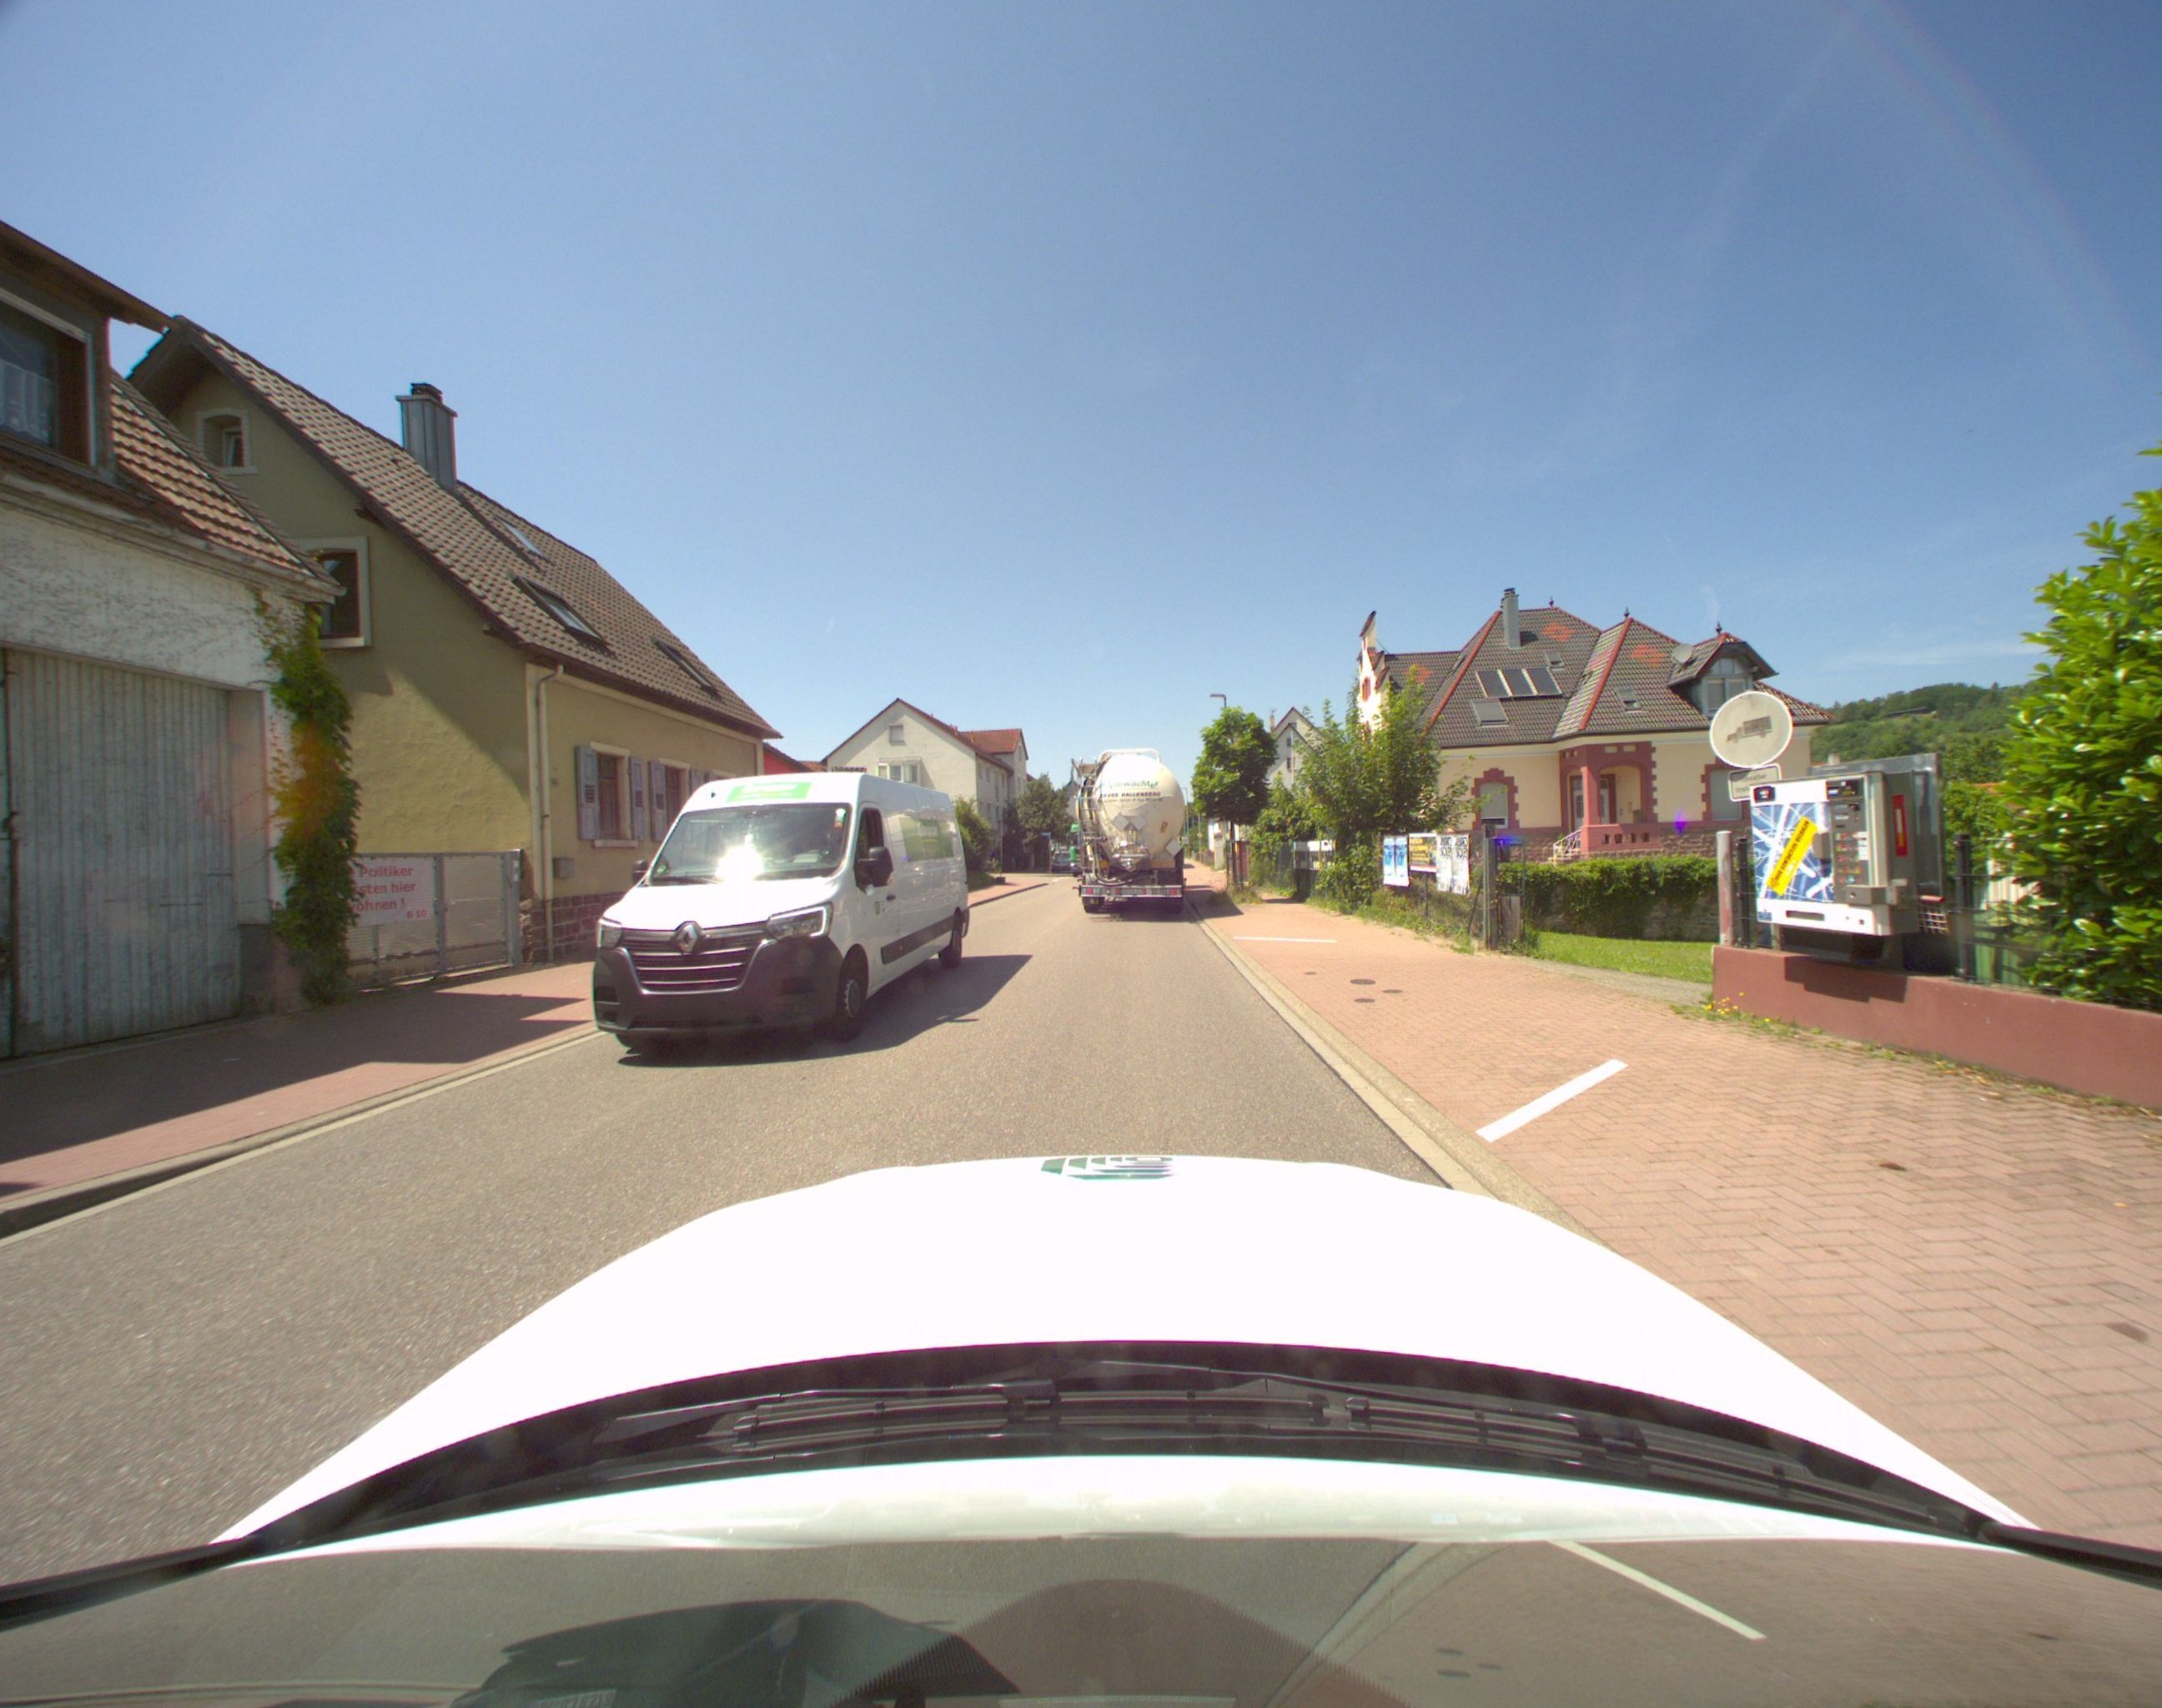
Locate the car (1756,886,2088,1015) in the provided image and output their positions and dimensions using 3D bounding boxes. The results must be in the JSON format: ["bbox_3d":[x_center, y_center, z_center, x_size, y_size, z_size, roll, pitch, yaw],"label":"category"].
[{"bbox_3d":[12.489,1.324,12.454,1.485,1.473,3.575,6,-1,5],"label":"car"}]

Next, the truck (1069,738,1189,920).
[{"bbox_3d":[1.314,-0.580,22.840,2.630,4.015,9.569,0,0,3],"label":"truck"}]

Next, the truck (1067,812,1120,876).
[{"bbox_3d":[0.981,-0.641,53.738,2.555,3.700,10.092,-3,0,5],"label":"truck"}]

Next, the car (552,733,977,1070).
[{"bbox_3d":[-2.801,0.349,9.215,2.021,2.460,6.073,-3,0,3],"label":"car"}]

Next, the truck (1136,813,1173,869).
[{"bbox_3d":[6.169,-1.042,68.601,2.628,4.224,12.110,-2,0,5],"label":"truck"}]

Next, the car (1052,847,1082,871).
[{"bbox_3d":[-1.035,0.358,61.339,1.698,1.686,4.533,-1,0,5],"label":"car"}]
